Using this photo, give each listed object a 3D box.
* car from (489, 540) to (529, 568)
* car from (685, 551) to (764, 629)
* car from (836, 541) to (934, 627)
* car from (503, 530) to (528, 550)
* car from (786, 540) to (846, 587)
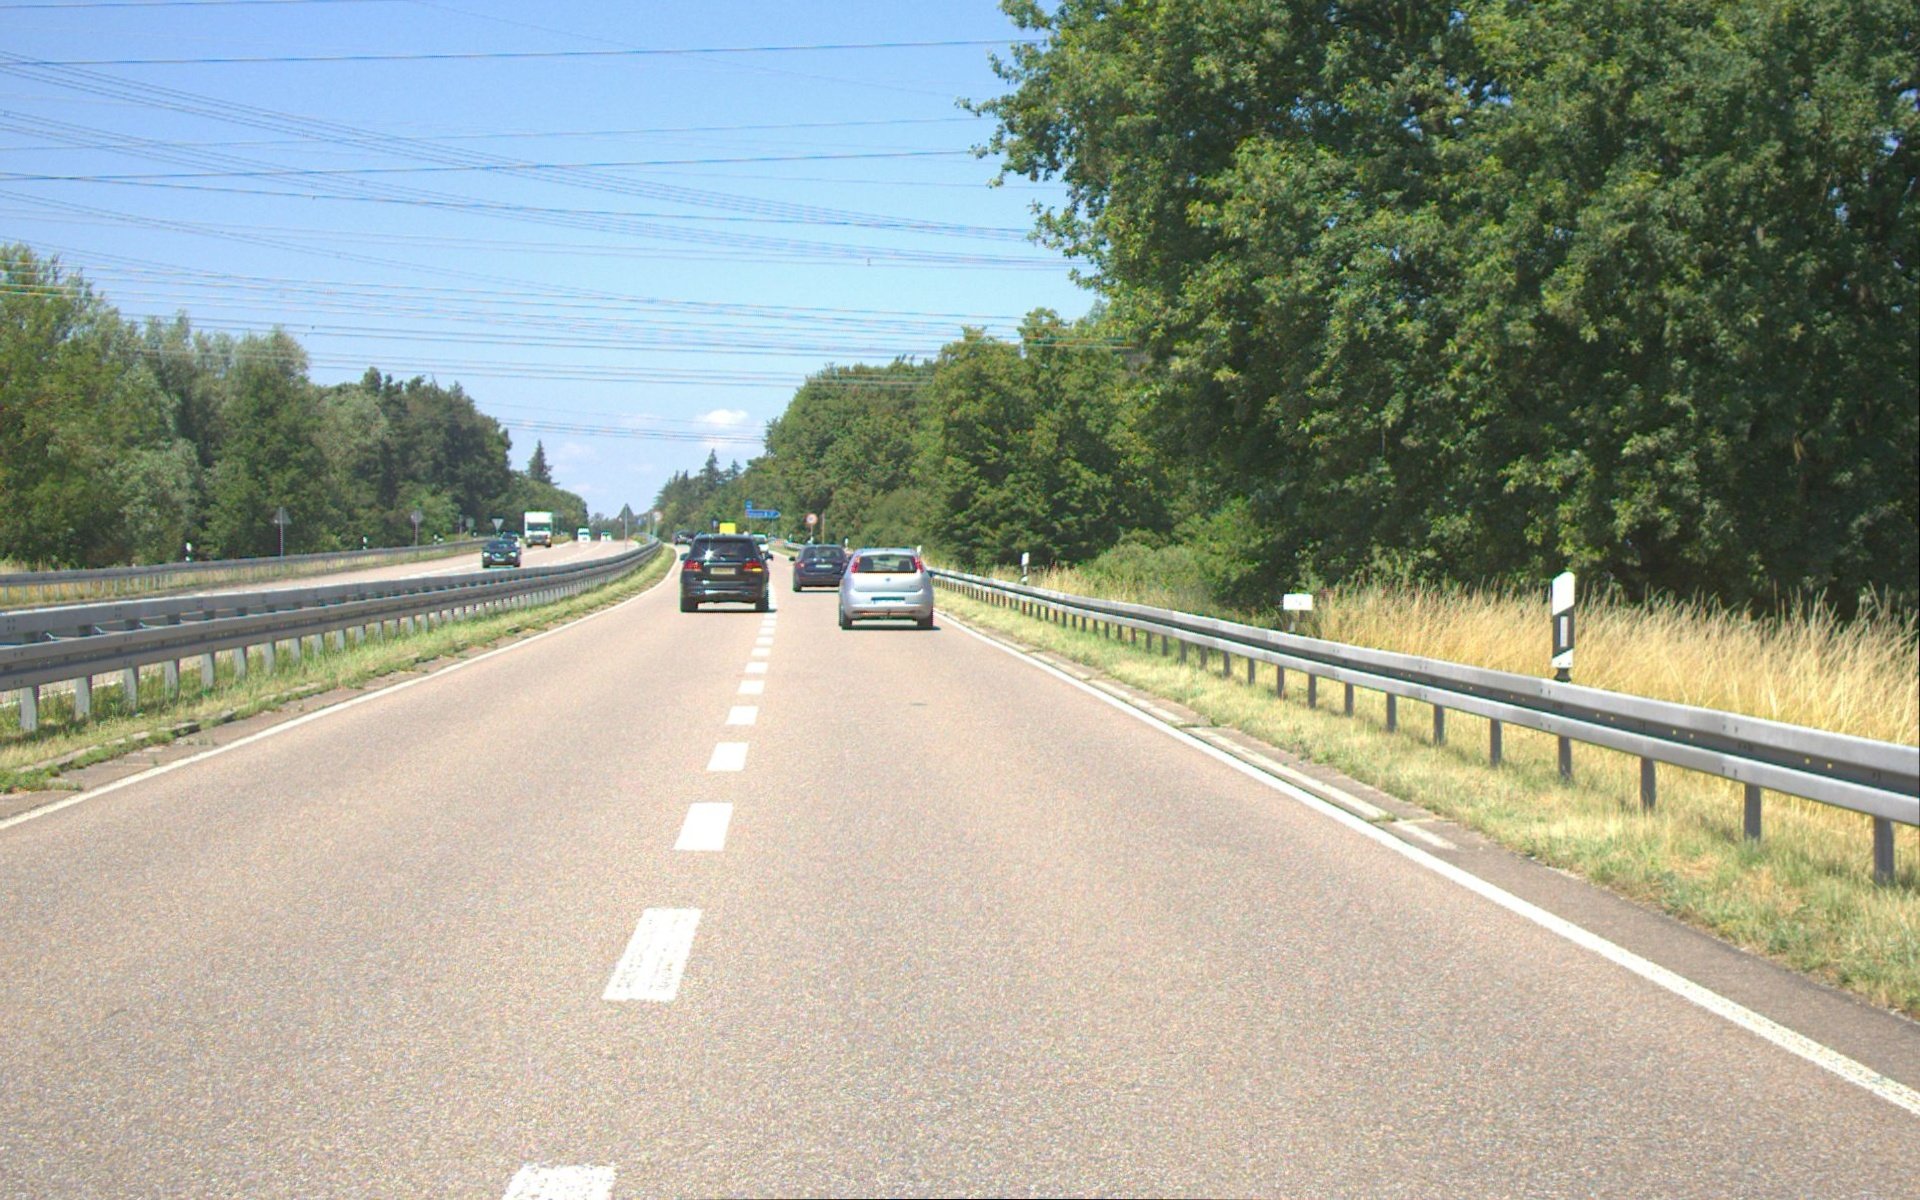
[{"bbox_3d":[-22.791,-2.325,173.979,1.844,1.408,4.682,0,1,-6],"label":"car"},{"bbox_3d":[-5.251,-0.246,77.090,1.640,1.648,3.574,2,1,-3],"label":"car"},{"bbox_3d":[-1.398,-0.305,62.970,1.640,1.463,3.419,2,1,-3],"label":"car"},{"bbox_3d":[-31.458,-4.255,243.299,1.532,1.444,3.702,0,1,-4],"label":"car"},{"bbox_3d":[-4.397,-1.121,105.135,1.640,1.338,3.574,3,1,0],"label":"car"}]
